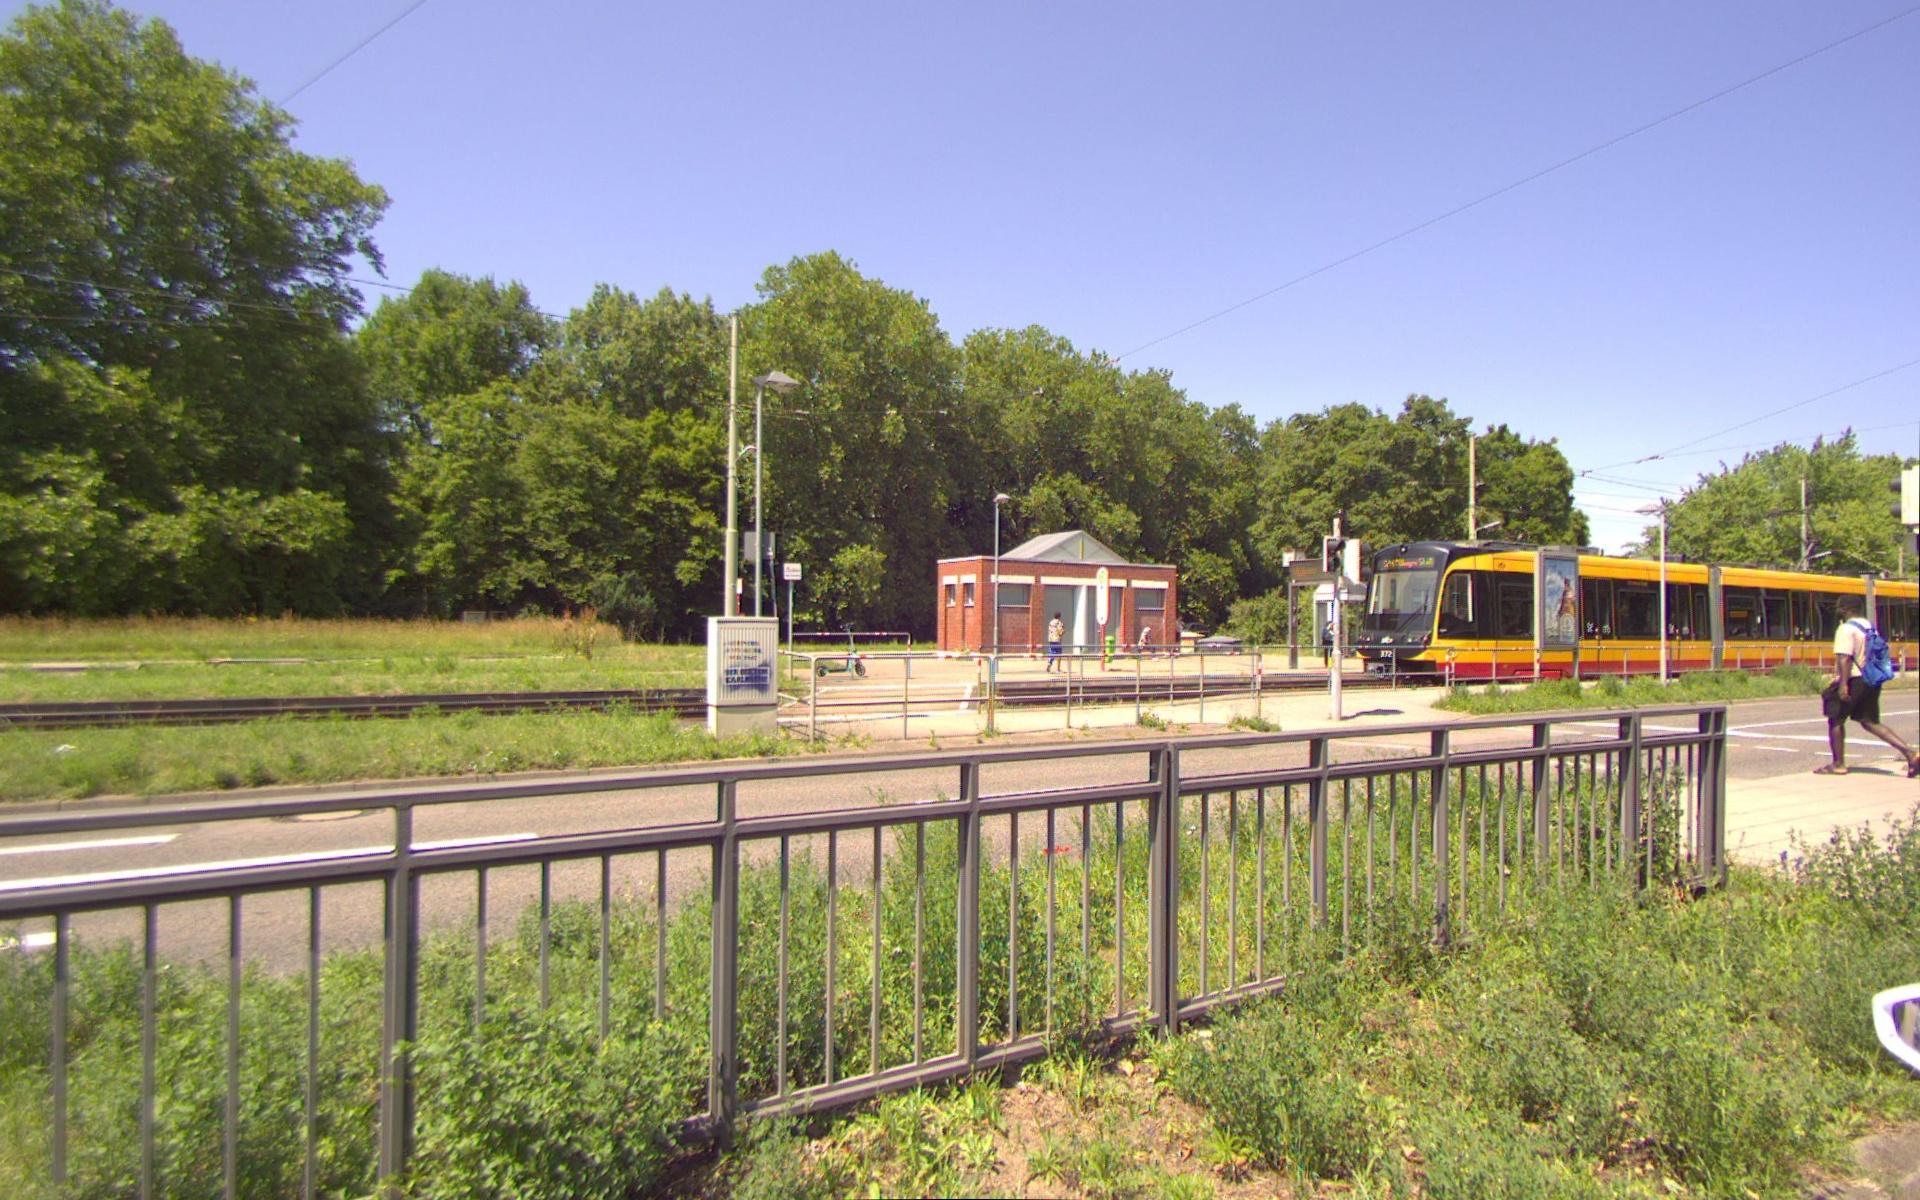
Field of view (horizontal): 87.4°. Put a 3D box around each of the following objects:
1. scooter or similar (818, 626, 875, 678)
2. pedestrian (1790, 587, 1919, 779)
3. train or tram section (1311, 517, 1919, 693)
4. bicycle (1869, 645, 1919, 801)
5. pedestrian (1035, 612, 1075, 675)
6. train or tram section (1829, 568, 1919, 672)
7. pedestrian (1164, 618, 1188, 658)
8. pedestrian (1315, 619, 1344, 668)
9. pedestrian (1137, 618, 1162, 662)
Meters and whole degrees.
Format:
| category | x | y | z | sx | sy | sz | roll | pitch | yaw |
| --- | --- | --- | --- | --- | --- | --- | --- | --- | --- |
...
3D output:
| category | x | y | z | sx | sy | sz | roll | pitch | yaw |
| --- | --- | --- | --- | --- | --- | --- | --- | --- | --- |
| scooter or similar | -2.638 | 1.202 | 23.449 | 1.217 | 1.183 | 0.508 | 1 | -1 | -30 |
| pedestrian | 8.976 | 0.796 | 10.001 | 0.711 | 1.801 | 0.836 | -1 | -2 | -30 |
| train or tram section | 21.980 | 0.424 | 30.509 | 29.680 | 3.799 | 2.944 | 1 | -1 | -31 |
| bicycle | 7.811 | 0.993 | 7.204 | 0.531 | 1.177 | 1.959 | -1 | 2 | -11 |
| pedestrian | 2.475 | 1.118 | 26.228 | 0.799 | 1.611 | 0.668 | 1 | -1 | -30 |
| train or tram section | 48.822 | 1.080 | 46.381 | 32.699 | 3.840 | 2.917 | 1 | -1 | -31 |
| pedestrian | 8.039 | 1.411 | 37.399 | 0.575 | 1.476 | 0.637 | 1 | -1 | -24 |
| pedestrian | 11.924 | 1.396 | 32.377 | 0.688 | 1.575 | 0.629 | 1 | -1 | -42 |
| pedestrian | 6.605 | 1.386 | 35.069 | 0.563 | 1.499 | 0.636 | 1 | -1 | -30 |
